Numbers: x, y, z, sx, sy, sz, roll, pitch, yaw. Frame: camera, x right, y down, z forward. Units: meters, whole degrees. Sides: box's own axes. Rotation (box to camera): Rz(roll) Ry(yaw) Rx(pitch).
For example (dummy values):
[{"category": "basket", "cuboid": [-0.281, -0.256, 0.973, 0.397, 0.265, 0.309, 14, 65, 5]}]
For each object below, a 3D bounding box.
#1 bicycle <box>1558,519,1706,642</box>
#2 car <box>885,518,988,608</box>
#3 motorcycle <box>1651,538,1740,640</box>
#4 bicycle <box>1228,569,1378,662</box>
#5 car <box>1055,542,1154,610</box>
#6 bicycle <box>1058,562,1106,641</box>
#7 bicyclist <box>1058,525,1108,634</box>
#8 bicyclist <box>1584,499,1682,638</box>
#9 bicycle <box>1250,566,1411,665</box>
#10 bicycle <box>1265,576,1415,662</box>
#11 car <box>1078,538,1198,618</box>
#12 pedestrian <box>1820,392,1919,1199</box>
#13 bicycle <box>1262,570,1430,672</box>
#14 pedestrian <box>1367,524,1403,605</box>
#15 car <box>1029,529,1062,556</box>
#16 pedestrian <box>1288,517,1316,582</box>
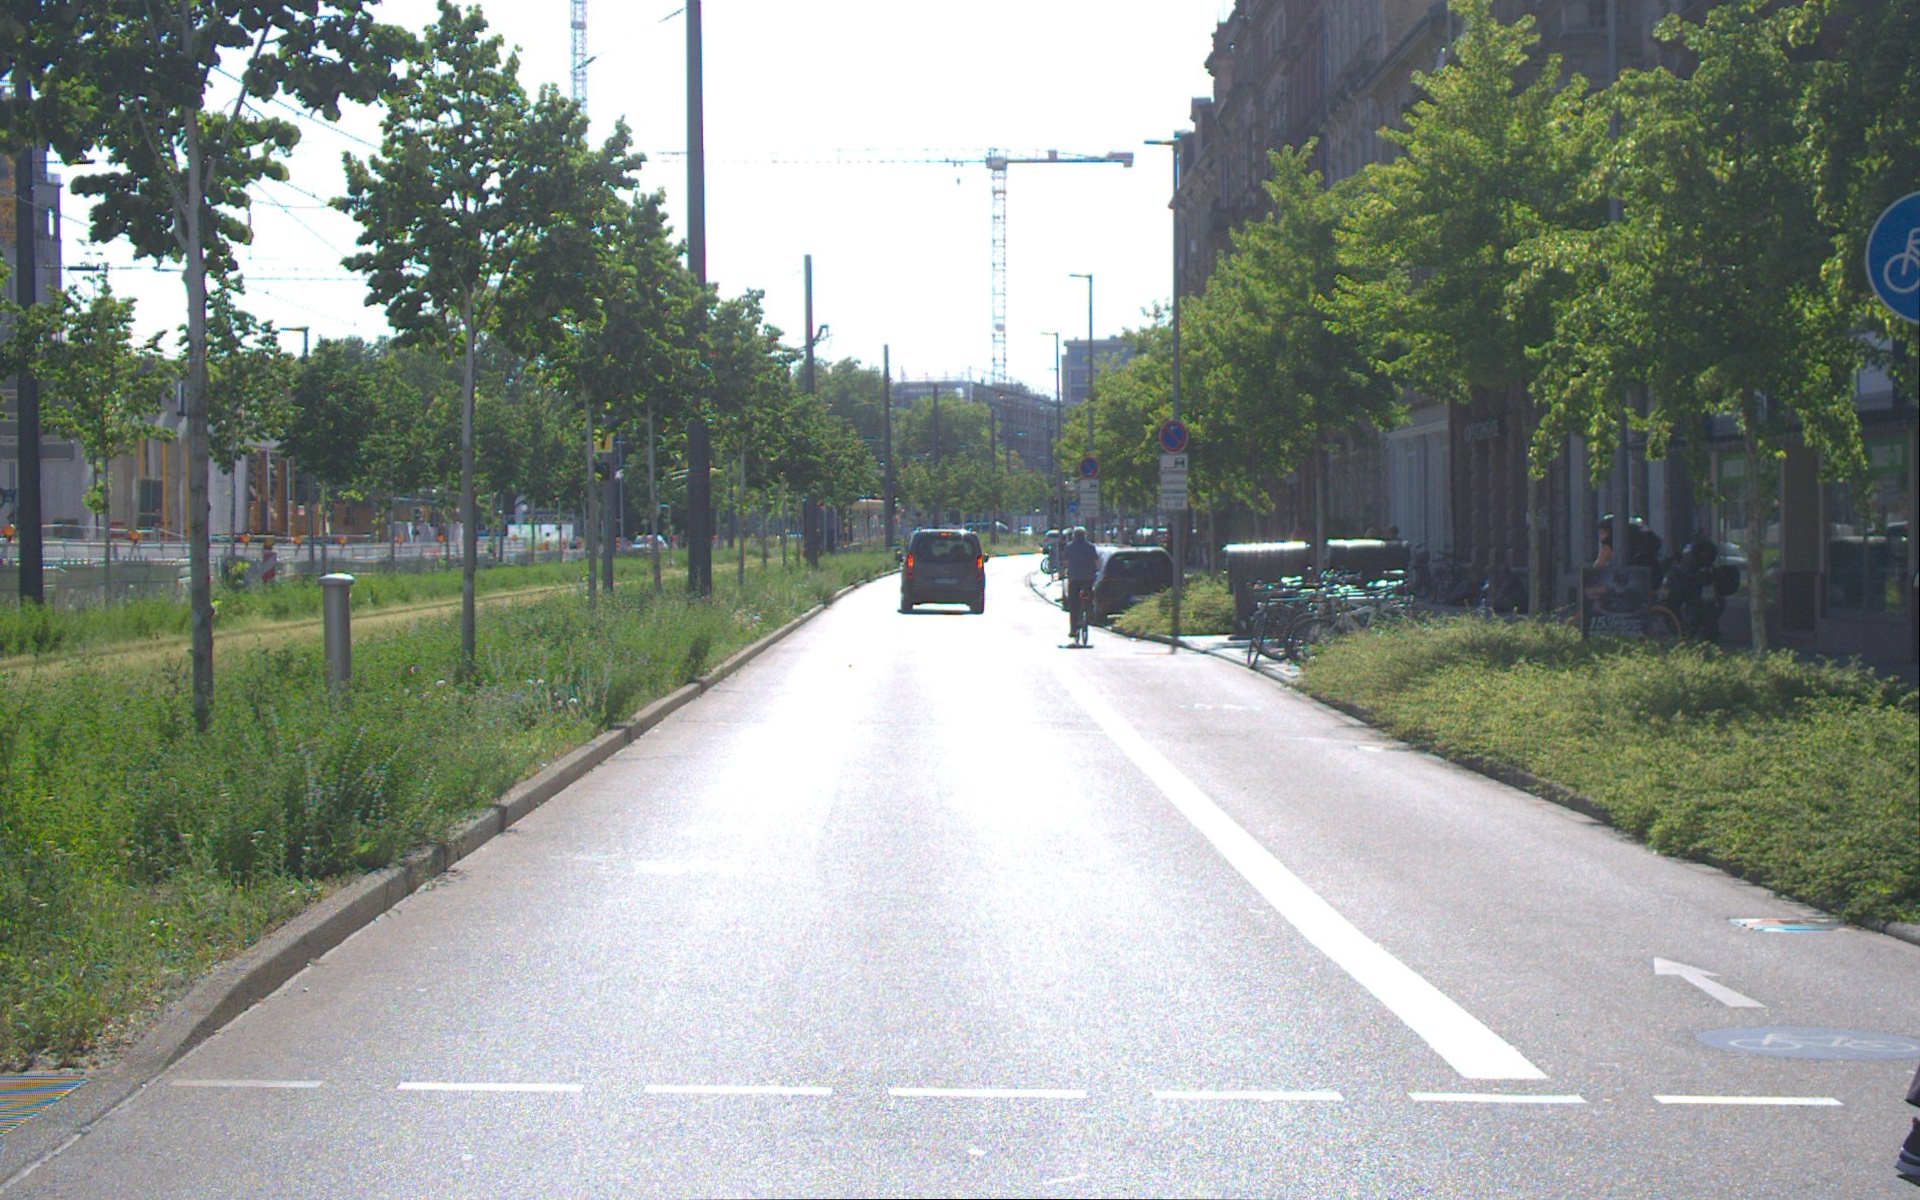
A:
[{"category": "bicycle", "cuboid": [7.673, -0.210, 39.351, 0.615, 1.326, 1.900, -5, 1, -22]}, {"category": "car", "cuboid": [-0.535, -0.845, 76.362, 2.200, 1.919, 4.654, -1, 1, -1]}, {"category": "motorcycle", "cuboid": [9.436, -0.153, 44.160, 0.700, 1.263, 1.982, -1, 1, -1]}, {"category": "bicycle", "cuboid": [4.391, 0.195, 44.024, 1.792, 1.027, 0.527, -5, 1, 0]}, {"category": "car", "cuboid": [3.326, -0.574, 79.775, 2.028, 1.493, 4.530, -1, 1, -1]}, {"category": "bicycle", "cuboid": [1.882, 0.013, 53.183, 0.601, 1.177, 1.869, 2, 1, -1]}, {"category": "bicyclist", "cuboid": [1.904, -0.329, 53.423, 0.684, 1.667, 0.922, 2, 1, -1]}, {"category": "bicyclist", "cuboid": [7.689, -0.351, 39.299, 0.660, 1.525, 0.801, -5, 1, -23]}, {"category": "bicycle", "cuboid": [4.412, 0.179, 41.012, 1.792, 1.027, 0.527, -5, 1, 0]}, {"category": "bicycle", "cuboid": [4.694, 0.231, 42.504, 1.792, 1.027, 0.527, -1, 1, 0]}, {"category": "car", "cuboid": [3.459, -0.455, 67.479, 2.028, 1.493, 4.654, -1, 1, -1]}, {"category": "pedestrian", "cuboid": [2.720, 0.459, 8.310, 1.075, 1.902, 0.653, -1, 1, -7]}, {"category": "bicycle", "cuboid": [4.437, 0.237, 39.543, 1.792, 1.027, 0.527, -5, 1, 0]}, {"category": "pedestrian", "cuboid": [8.421, -0.708, 68.075, 0.614, 1.606, 0.669, -1, 1, -1]}, {"category": "car", "cuboid": [5.697, -3.810, 229.158, 1.993, 1.723, 4.000, 1, 0, -1]}, {"category": "pedestrian", "cuboid": [8.625, -1.277, 86.731, 0.614, 1.606, 0.669, -1, 1, -1]}]
